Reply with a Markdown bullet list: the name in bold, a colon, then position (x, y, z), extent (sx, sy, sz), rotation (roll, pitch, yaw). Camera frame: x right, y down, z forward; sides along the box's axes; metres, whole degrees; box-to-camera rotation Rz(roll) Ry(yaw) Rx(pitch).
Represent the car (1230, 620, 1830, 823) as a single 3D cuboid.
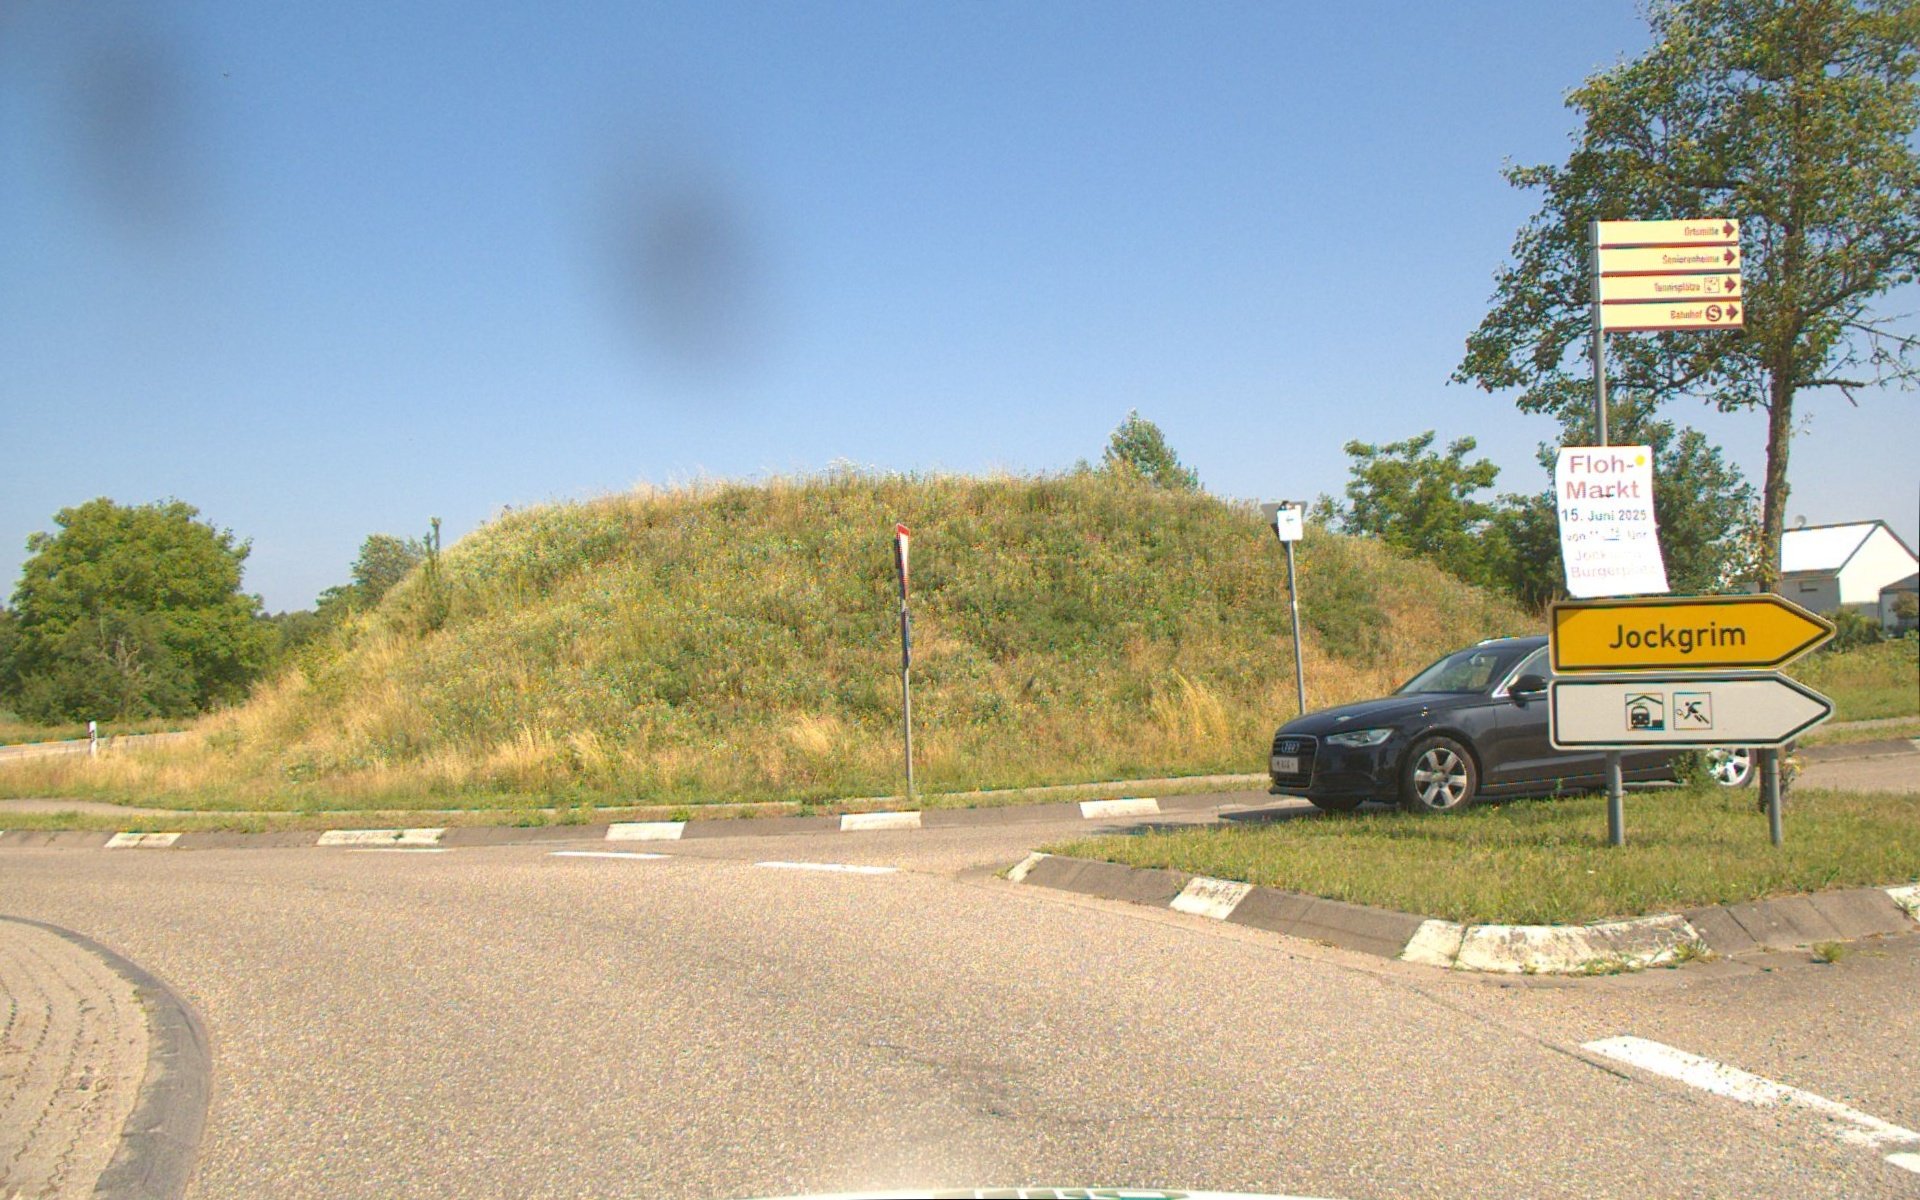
- **car**: position (5.010, 1.038, 14.617), extent (4.823, 1.459, 1.912), rotation (-1, -5, -20)
